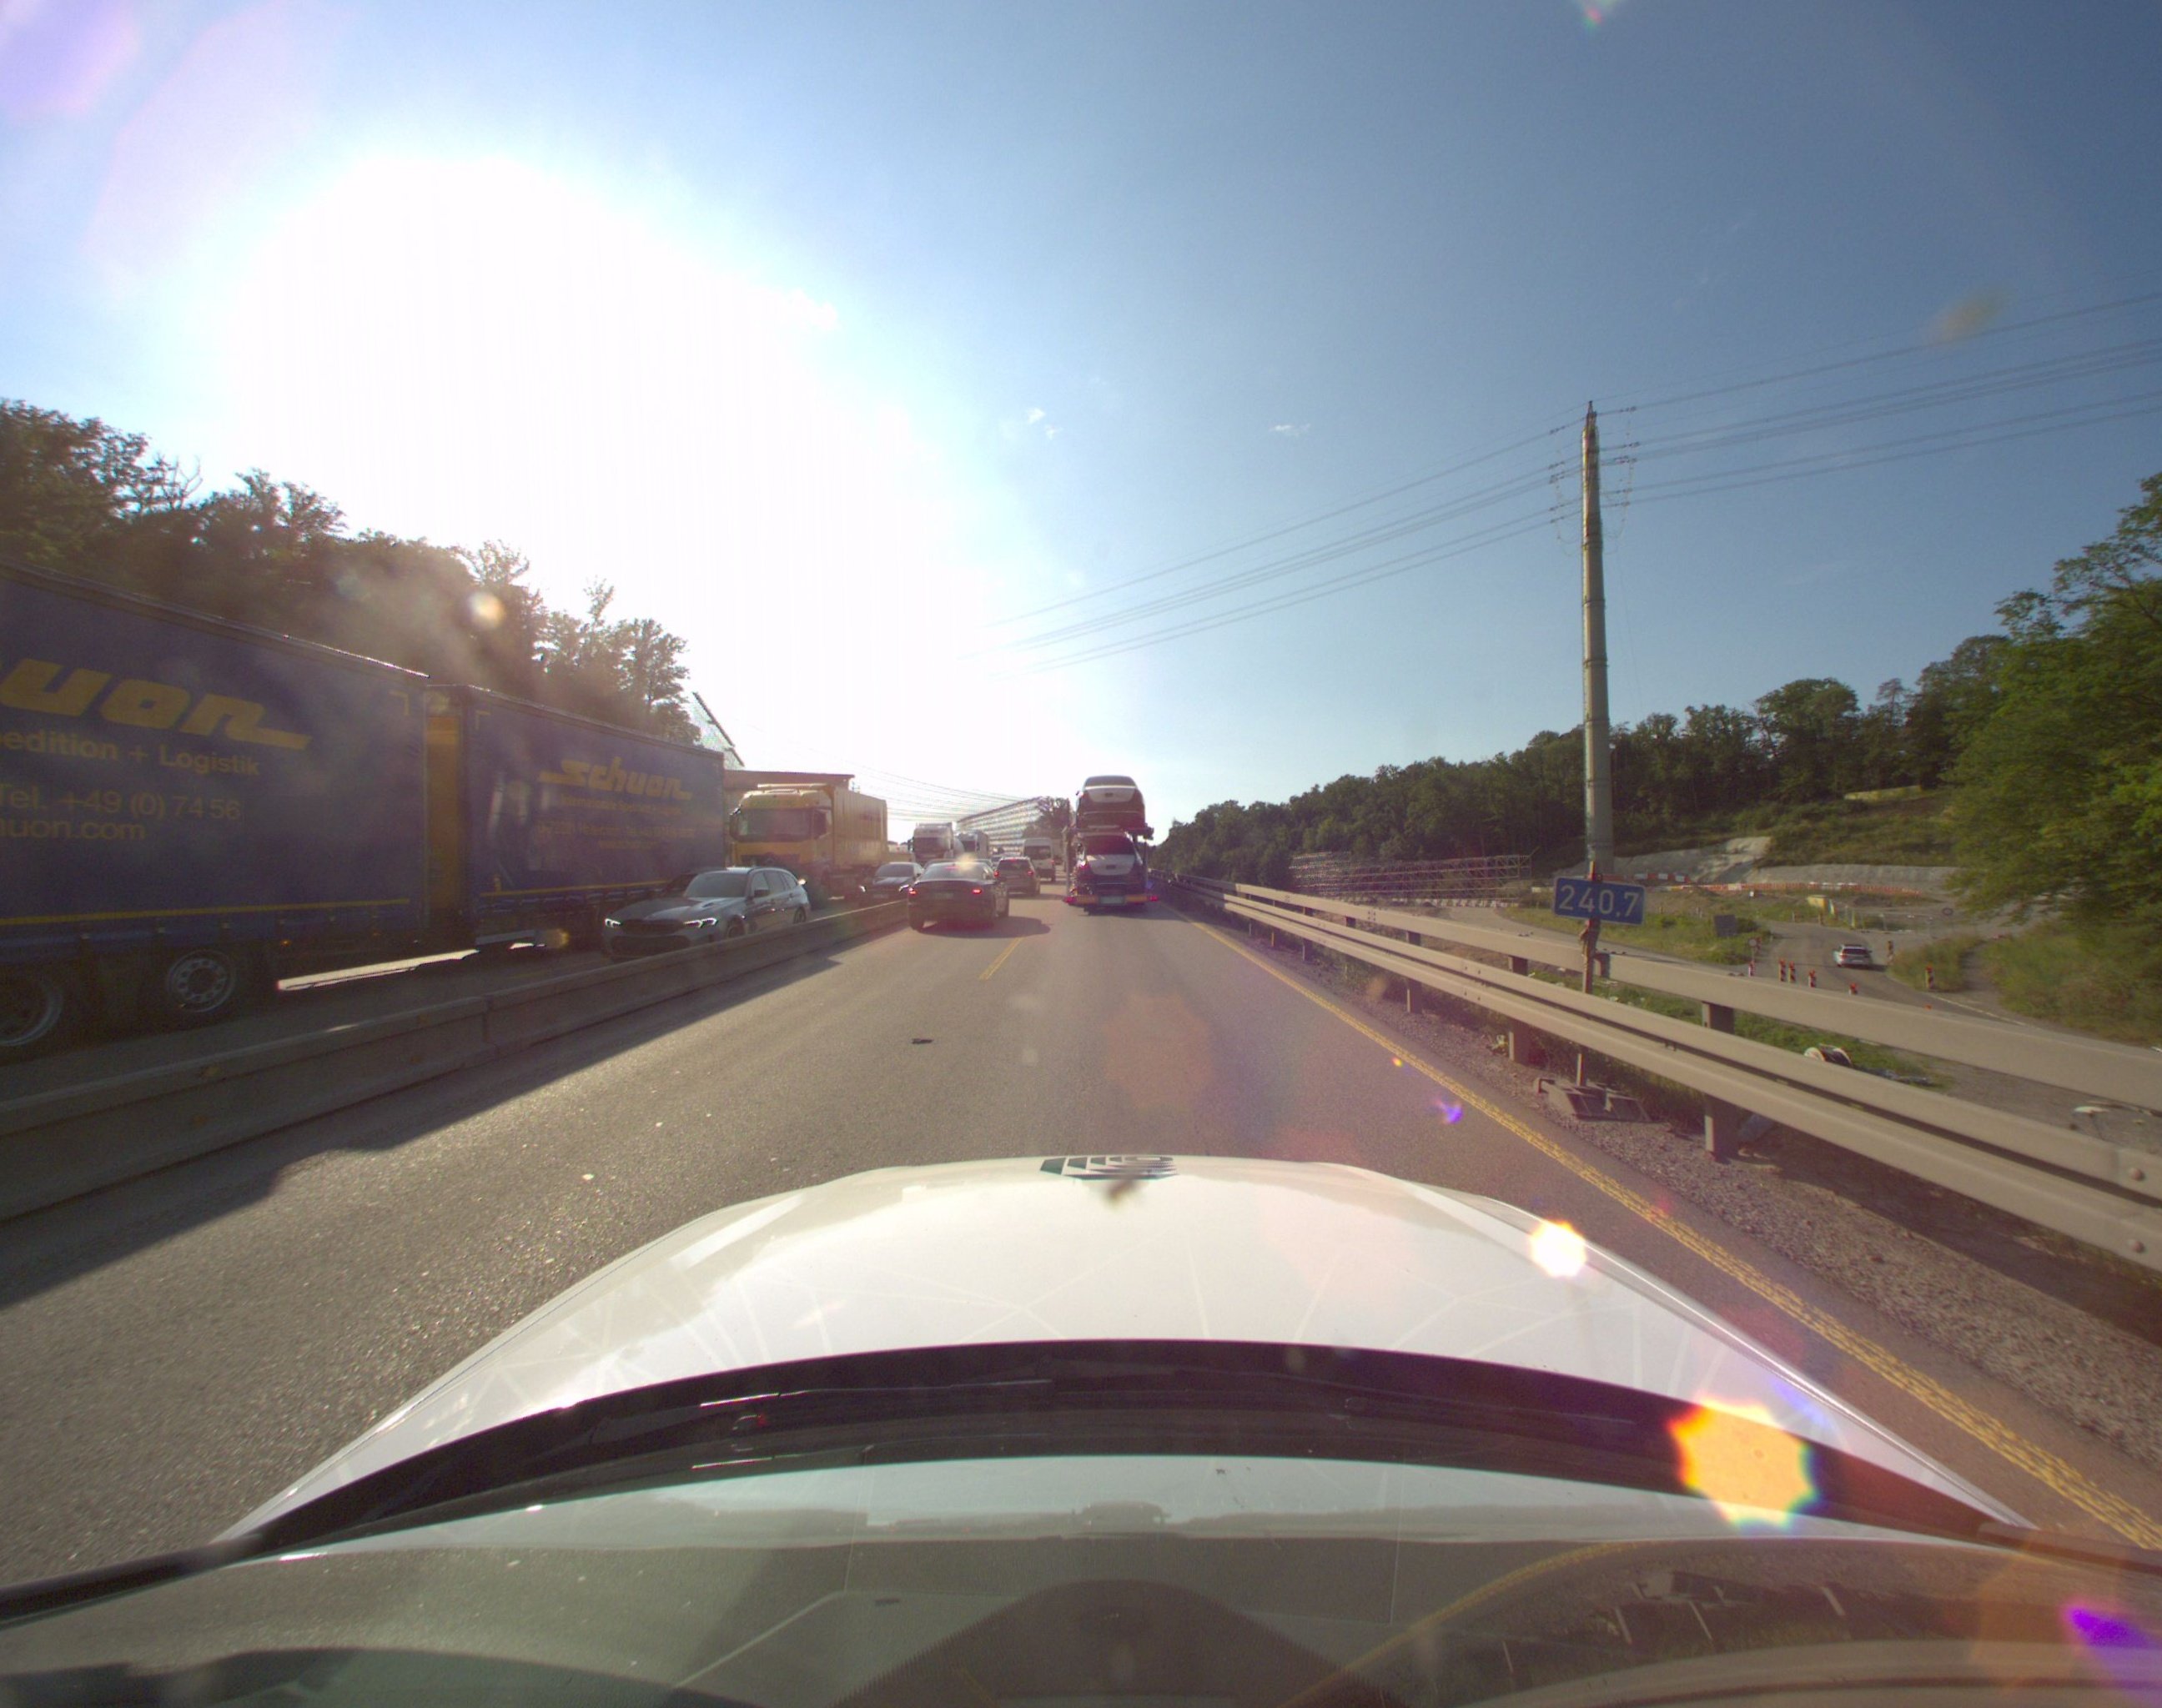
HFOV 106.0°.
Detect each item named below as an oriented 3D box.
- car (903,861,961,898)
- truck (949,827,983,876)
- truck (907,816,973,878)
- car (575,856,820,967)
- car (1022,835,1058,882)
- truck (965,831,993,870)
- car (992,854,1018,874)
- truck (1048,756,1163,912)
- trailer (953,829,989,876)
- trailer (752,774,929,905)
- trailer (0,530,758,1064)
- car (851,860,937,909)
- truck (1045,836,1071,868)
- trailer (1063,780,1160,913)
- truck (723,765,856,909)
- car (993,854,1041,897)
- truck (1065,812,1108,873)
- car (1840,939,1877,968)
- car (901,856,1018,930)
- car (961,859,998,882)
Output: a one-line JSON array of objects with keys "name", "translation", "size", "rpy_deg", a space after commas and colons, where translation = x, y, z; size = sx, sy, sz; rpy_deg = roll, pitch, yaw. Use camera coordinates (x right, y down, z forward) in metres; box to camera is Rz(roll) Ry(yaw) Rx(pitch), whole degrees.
[{"name": "car", "translation": [-6.547, 1.119, 36.158], "size": [1.711, 1.508, 4.291], "rpy_deg": [-2, -1, 0]}, {"name": "truck", "translation": [-10.510, -0.171, 75.029], "size": [2.438, 4.272, 6.314], "rpy_deg": [-2, -1, -3]}, {"name": "truck", "translation": [-9.931, -0.291, 58.911], "size": [2.802, 3.970, 13.879], "rpy_deg": [1, -1, -2]}, {"name": "car", "translation": [-6.114, 0.853, 13.742], "size": [1.782, 1.498, 4.725], "rpy_deg": [-2, -1, 1]}, {"name": "car", "translation": [-2.410, 0.317, 49.221], "size": [1.974, 2.684, 4.144], "rpy_deg": [-2, -1, -1]}, {"name": "truck", "translation": [-11.864, -0.327, 95.348], "size": [2.889, 4.272, 5.761], "rpy_deg": [-1, -1, -5]}, {"name": "car", "translation": [-6.652, 0.857, 71.831], "size": [1.840, 1.648, 4.557], "rpy_deg": [-2, -1, -1]}, {"name": "truck", "translation": [0.799, -0.462, 24.031], "size": [2.858, 3.980, 5.776], "rpy_deg": [-2, -1, 3]}, {"name": "trailer", "translation": [-10.778, -0.035, 80.853], "size": [2.447, 4.266, 12.131], "rpy_deg": [-2, -1, -3]}, {"name": "trailer", "translation": [-9.301, -0.299, 34.439], "size": [2.692, 4.204, 15.992], "rpy_deg": [-2, -1, 0]}, {"name": "trailer", "translation": [-9.591, -0.295, 11.885], "size": [2.705, 4.135, 16.753], "rpy_deg": [-2, -1, 1]}, {"name": "car", "translation": [-6.231, 0.992, 27.639], "size": [1.791, 1.453, 4.615], "rpy_deg": [-2, -1, 0]}, {"name": "truck", "translation": [-3.389, -0.313, 125.736], "size": [3.637, 4.677, 11.692], "rpy_deg": [-1, 0, 0]}, {"name": "trailer", "translation": [0.918, -0.062, 32.604], "size": [2.865, 3.994, 15.274], "rpy_deg": [-2, -1, 0]}, {"name": "truck", "translation": [-9.279, -0.470, 26.415], "size": [2.685, 4.197, 4.396], "rpy_deg": [-2, -1, -1]}, {"name": "car", "translation": [-2.558, 0.872, 33.358], "size": [1.696, 1.587, 4.144], "rpy_deg": [-2, -1, -1]}, {"name": "truck", "translation": [0.412, -0.913, 69.720], "size": [3.218, 4.677, 11.692], "rpy_deg": [-1, 0, 0]}, {"name": "car", "translation": [52.643, 6.697, 55.185], "size": [1.511, 1.461, 4.294], "rpy_deg": [-3, -2, 41]}, {"name": "car", "translation": [-2.751, 0.861, 19.639], "size": [1.934, 1.480, 5.221], "rpy_deg": [-2, -1, 0]}, {"name": "car", "translation": [-6.518, 1.080, 52.706], "size": [1.734, 1.402, 4.901], "rpy_deg": [-2, -1, 0]}]
